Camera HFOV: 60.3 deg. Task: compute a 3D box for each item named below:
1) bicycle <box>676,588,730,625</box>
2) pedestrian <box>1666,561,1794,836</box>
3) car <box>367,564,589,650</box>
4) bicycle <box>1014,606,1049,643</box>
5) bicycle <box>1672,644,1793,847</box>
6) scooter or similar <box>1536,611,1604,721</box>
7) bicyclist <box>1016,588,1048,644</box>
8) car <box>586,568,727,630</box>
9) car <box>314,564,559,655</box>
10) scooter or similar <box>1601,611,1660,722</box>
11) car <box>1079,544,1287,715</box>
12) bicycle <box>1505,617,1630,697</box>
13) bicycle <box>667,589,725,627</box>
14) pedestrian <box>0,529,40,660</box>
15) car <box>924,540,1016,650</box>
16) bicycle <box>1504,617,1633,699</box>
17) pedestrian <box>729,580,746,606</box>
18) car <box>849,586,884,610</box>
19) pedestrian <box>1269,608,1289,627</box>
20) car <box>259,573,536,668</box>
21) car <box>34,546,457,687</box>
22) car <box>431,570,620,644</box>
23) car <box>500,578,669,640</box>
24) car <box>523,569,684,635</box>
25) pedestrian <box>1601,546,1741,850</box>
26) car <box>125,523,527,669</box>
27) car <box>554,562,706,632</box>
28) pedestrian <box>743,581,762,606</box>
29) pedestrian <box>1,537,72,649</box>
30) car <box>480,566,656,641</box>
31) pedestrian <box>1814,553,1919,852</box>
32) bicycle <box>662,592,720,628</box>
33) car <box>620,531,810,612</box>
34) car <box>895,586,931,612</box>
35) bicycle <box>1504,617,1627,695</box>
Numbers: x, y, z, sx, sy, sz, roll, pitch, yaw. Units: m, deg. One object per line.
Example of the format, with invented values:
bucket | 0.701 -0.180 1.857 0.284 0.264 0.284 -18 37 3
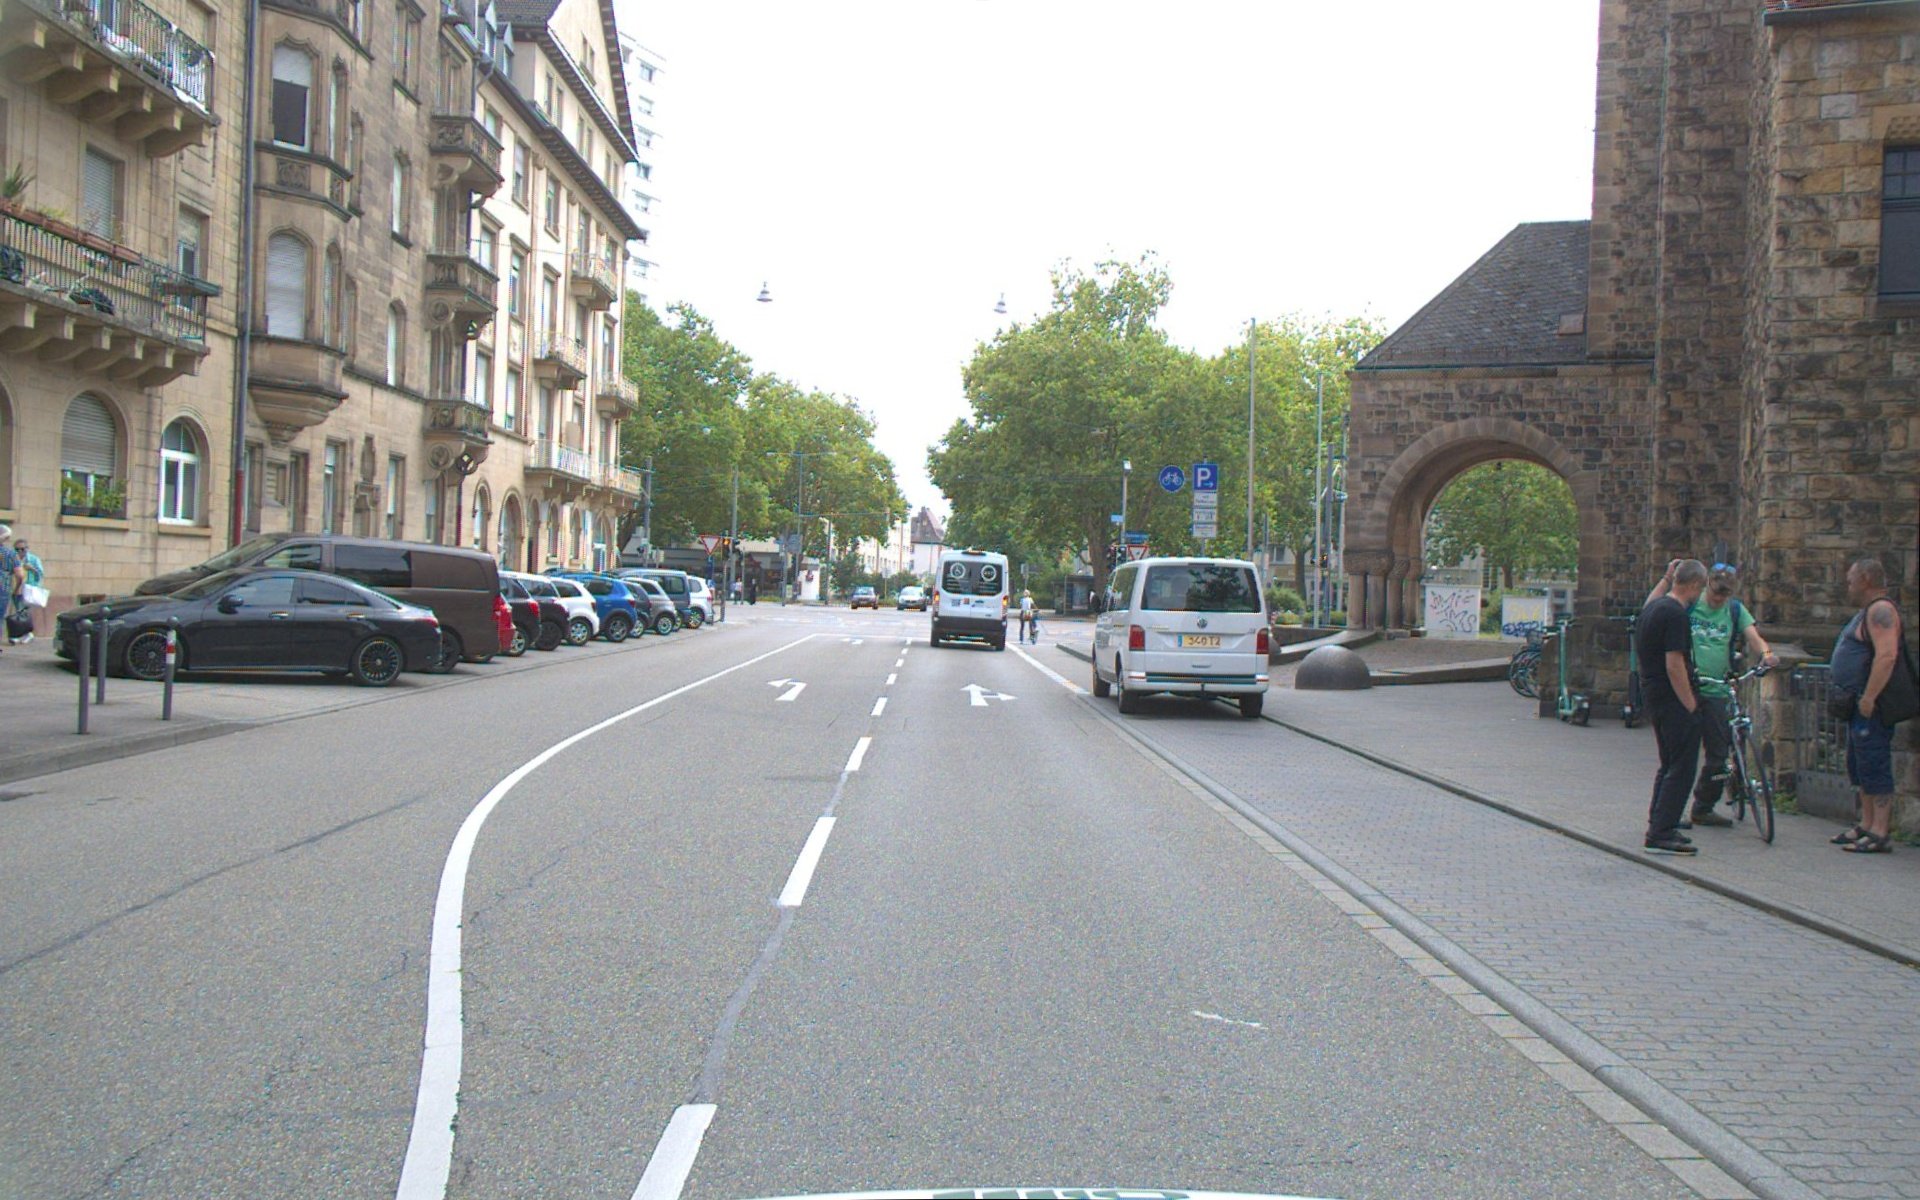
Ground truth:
bicycle | -9.212 0.240 59.303 1.837 1.187 0.498 4 -1 20
pedestrian | 5.058 0.632 10.873 0.523 1.750 0.505 2 0 -23
car | -9.718 0.153 33.449 3.962 1.592 1.776 2 0 -33
bicycle | 2.221 0.760 51.655 0.885 1.094 1.969 2 0 -3
bicycle | 5.045 0.902 10.872 0.521 1.170 1.753 2 0 19
scooter or similar | 7.215 0.755 19.606 0.532 1.228 1.444 1 0 12
bicyclist | 2.238 0.491 51.656 0.886 1.713 0.756 2 0 -4
car | -9.511 -0.029 51.911 3.974 1.804 1.771 2 0 -40
car | -9.506 0.187 30.147 3.952 1.529 1.611 2 0 -36
scooter or similar | 7.819 0.753 19.322 0.533 1.228 1.481 1 0 19
car | 2.897 0.318 22.645 1.974 2.064 5.122 1 1 -2
bicycle | 9.159 0.845 24.991 1.732 1.131 0.546 1 0 18
bicycle | -8.966 0.271 56.142 1.772 1.139 0.594 5 0 3
pedestrian | -11.690 -0.074 20.238 0.640 1.572 0.506 2 0 -20
car | 0.203 -0.166 44.653 2.138 2.693 4.626 4 1 -2
bicycle | 8.949 0.841 24.376 1.739 1.131 0.546 1 0 18
pedestrian | -13.751 -0.433 102.104 0.790 1.600 0.724 2 0 13
car | -6.137 -0.149 108.926 1.586 1.502 4.003 2 0 7
pedestrian | 21.184 1.173 109.868 1.068 1.258 1.441 0 -1 4
car | -9.304 0.353 27.525 3.978 1.434 1.769 2 0 -42
car | -9.123 0.243 21.344 4.627 1.433 1.873 5 0 -40
car | -9.561 0.172 36.476 3.646 1.507 1.719 2 0 -37
car | -9.696 0.249 42.824 3.861 1.469 1.813 2 0 -37
car | -9.804 0.059 45.623 3.974 1.680 1.771 2 0 -40
pedestrian | 4.240 0.566 9.875 0.501 1.750 0.528 2 0 -23
car | -9.327 -0.012 24.546 5.210 1.943 2.095 2 0 -36
car | -9.649 -0.070 48.515 3.974 1.911 1.771 2 0 -40
pedestrian | -12.773 -0.387 101.916 0.910 1.541 0.724 2 0 13
pedestrian | -12.786 -0.101 22.906 0.647 1.511 0.509 2 0 -2
car | -9.425 0.087 39.850 3.738 1.680 1.702 2 0 -37
pedestrian | 5.594 0.602 10.006 0.500 1.750 0.528 2 0 -22
bicycle | -9.016 0.344 55.470 1.771 1.140 0.594 2 0 6
car | -13.136 -1.535 88.529 9.687 3.983 3.453 2 0 24
car | -3.046 -0.079 108.105 1.696 1.620 4.003 2 0 7
bicycle | 9.345 0.849 25.580 1.739 1.131 0.546 1 0 18
